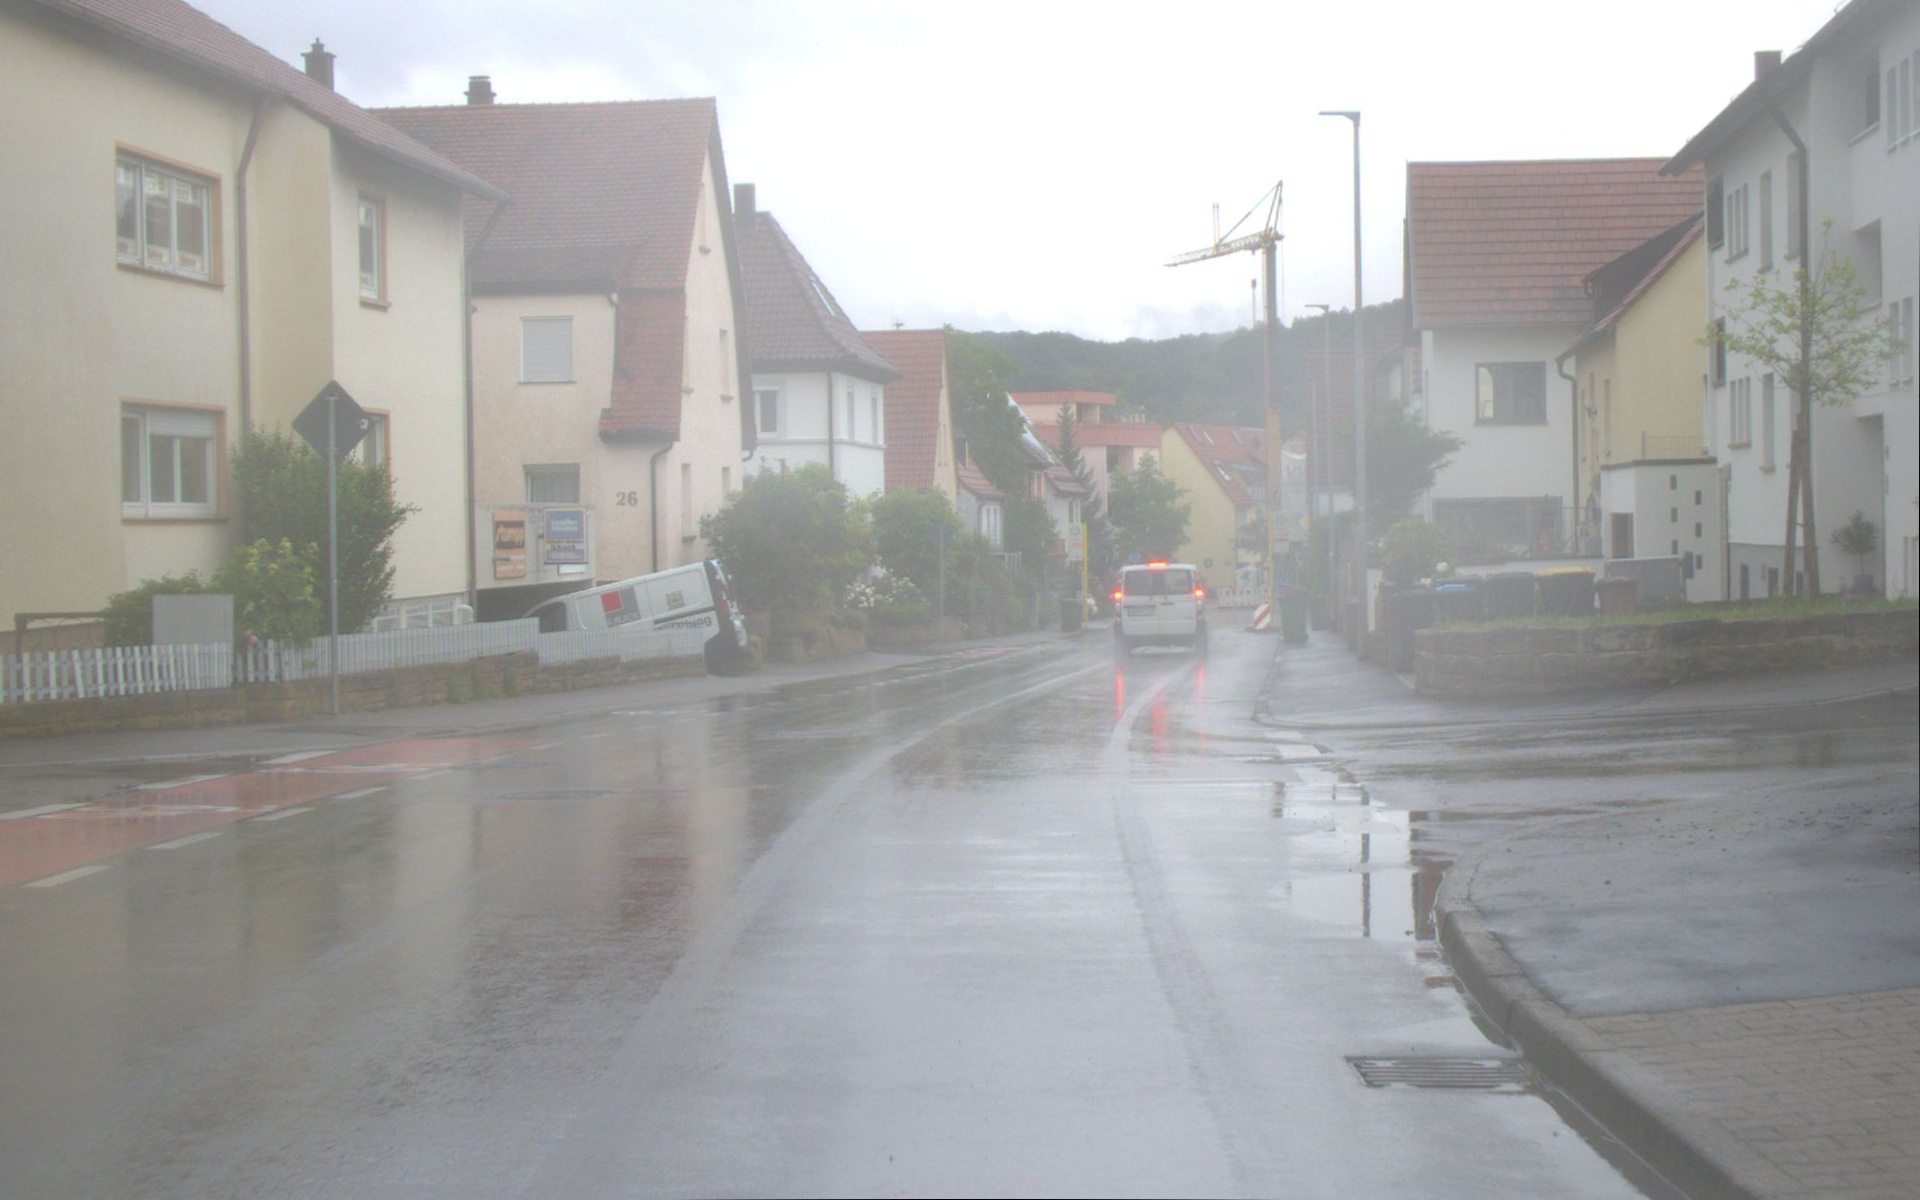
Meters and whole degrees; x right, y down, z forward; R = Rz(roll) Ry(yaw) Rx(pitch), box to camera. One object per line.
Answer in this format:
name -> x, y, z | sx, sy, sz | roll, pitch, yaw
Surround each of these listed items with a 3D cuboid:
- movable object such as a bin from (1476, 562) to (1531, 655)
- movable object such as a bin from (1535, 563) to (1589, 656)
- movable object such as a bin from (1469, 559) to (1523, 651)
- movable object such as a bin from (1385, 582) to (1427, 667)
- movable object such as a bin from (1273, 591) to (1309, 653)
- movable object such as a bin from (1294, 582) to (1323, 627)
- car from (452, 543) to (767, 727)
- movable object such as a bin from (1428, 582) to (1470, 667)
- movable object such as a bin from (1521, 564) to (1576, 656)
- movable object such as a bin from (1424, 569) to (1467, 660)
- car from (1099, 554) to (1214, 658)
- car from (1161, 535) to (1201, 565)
movable object such as a bin -> 6.178, 0.092, 39.100 | 0.544, 1.024, 0.632 | 1, 3, 3
movable object such as a bin -> 6.835, 0.106, 39.046 | 0.528, 1.024, 0.632 | 1, 3, 3
movable object such as a bin -> 6.201, 0.051, 39.806 | 0.544, 1.024, 0.632 | 1, 3, 3
movable object such as a bin -> 5.092, 0.281, 39.257 | 0.425, 0.937, 0.508 | 1, 3, 3
movable object such as a bin -> 7.190, 0.472, 74.618 | 0.745, 1.274, 0.882 | -1, 2, 6
movable object such as a bin -> 10.263, 0.121, 101.340 | 0.786, 1.272, 0.713 | 1, 3, 9
car -> -5.756, 0.559, 56.865 | 4.555, 2.006, 2.160 | -12, 2, 5
movable object such as a bin -> 5.566, 0.280, 39.156 | 0.425, 0.937, 0.508 | 1, 3, 3
movable object such as a bin -> 6.808, 0.109, 39.772 | 0.544, 1.024, 0.632 | 1, 3, 3
movable object such as a bin -> 5.622, 0.162, 39.816 | 0.425, 1.024, 0.632 | 1, 3, 3
car -> 4.049, 0.086, 70.181 | 2.117, 1.881, 4.501 | 1, 3, 6
car -> 12.819, -2.919, 199.276 | 1.842, 1.573, 4.288 | 1, 3, 10
